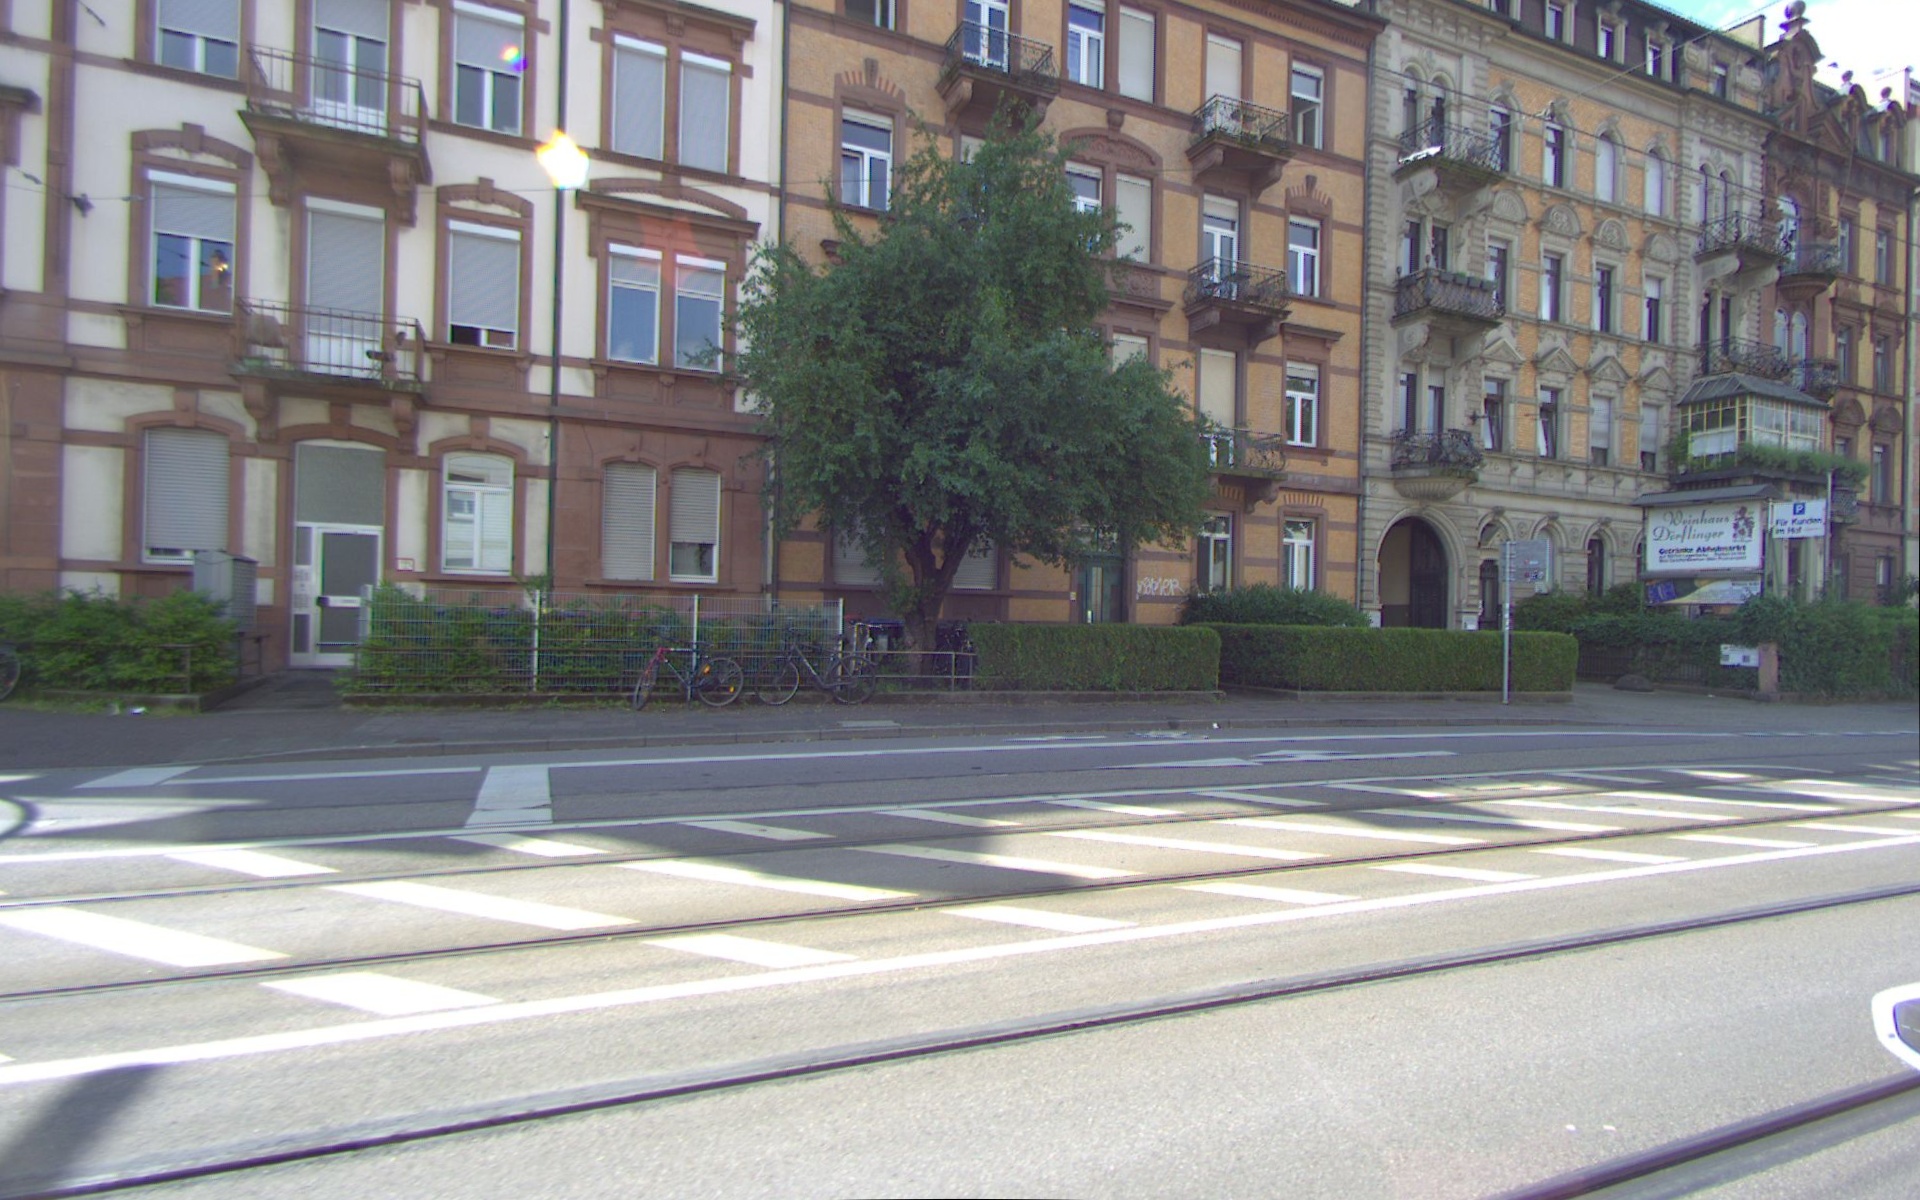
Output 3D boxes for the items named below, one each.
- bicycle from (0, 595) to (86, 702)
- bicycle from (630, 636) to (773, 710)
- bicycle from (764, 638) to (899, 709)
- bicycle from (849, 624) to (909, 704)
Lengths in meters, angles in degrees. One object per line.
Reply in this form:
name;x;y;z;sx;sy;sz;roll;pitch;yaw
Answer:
bicycle;-11.717;0.565;12.341;1.915;1.241;0.483;1;0;16
bicycle;-3.480;0.977;13.547;1.798;0.944;0.558;2;-1;-21
bicycle;-1.806;1.036;14.192;1.798;0.944;0.558;2;-1;-21
bicycle;-1.260;0.960;15.437;0.490;1.146;1.301;2;-1;-24
